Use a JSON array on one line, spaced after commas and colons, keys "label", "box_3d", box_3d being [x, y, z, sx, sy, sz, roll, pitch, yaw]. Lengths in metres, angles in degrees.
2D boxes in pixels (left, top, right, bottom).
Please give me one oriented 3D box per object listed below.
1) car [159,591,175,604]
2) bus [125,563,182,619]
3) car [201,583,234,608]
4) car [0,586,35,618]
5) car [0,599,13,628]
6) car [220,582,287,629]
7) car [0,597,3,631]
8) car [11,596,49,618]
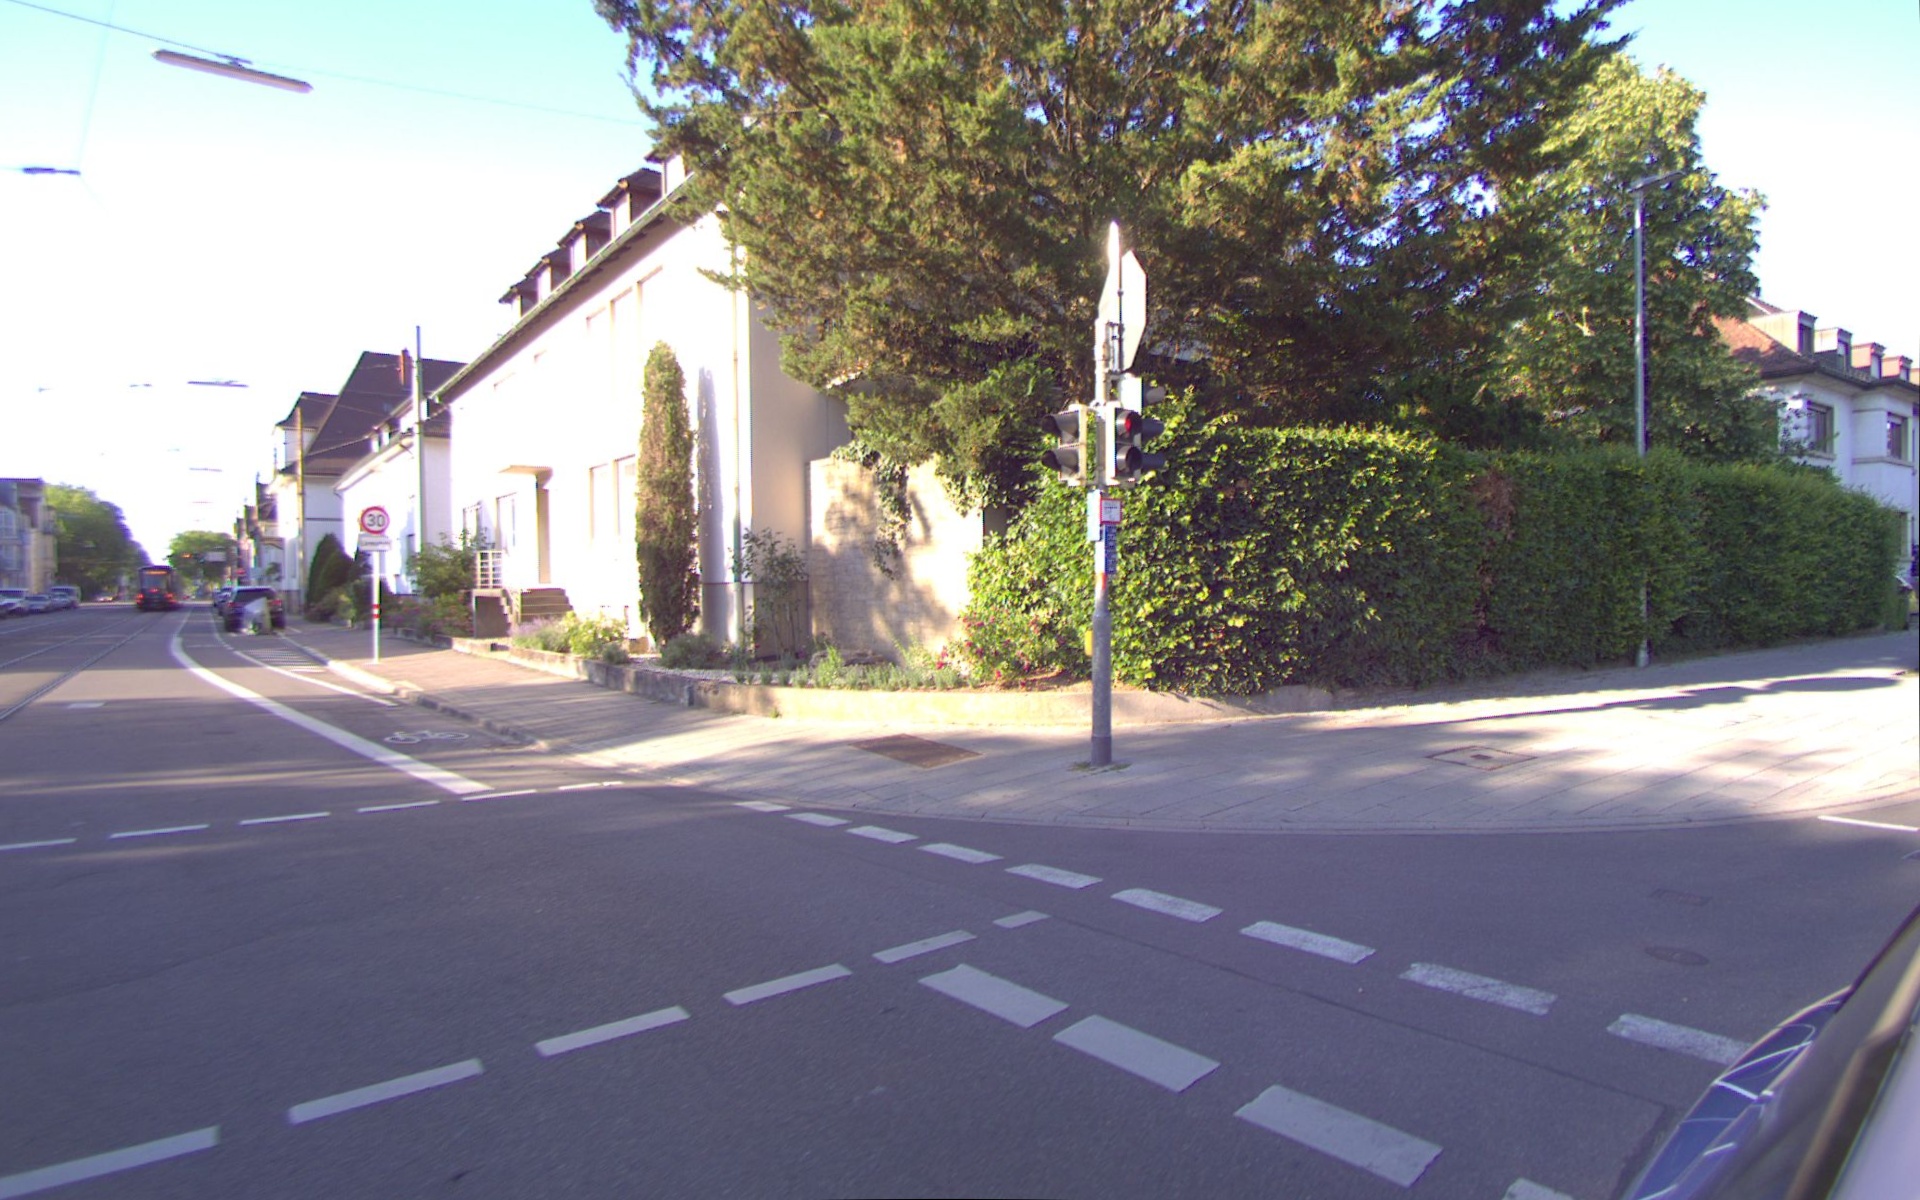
[{"label": "car", "box_3d": [-113.491, -0.399, 144.833, 1.592, 1.641, 3.716, -3, 4, -41]}, {"label": "bus", "box_3d": [-64.927, -0.629, 81.690, 2.813, 3.874, 13.316, -3, 0, -36]}, {"label": "car", "box_3d": [-57.327, -0.360, 78.194, 1.963, 1.794, 3.999, -2, 1, -36]}, {"label": "car", "box_3d": [-65.526, 0.156, 69.970, 1.965, 2.039, 3.994, -3, 0, -39]}, {"label": "car", "box_3d": [-59.893, 0.888, 62.332, 1.965, 1.635, 3.994, -3, 0, -39]}, {"label": "car", "box_3d": [-26.872, 0.175, 38.468, 1.963, 1.616, 3.999, -3, 2, -36]}, {"label": "car", "box_3d": [-56.621, 0.859, 58.065, 1.963, 2.039, 3.999, -2, 1, -36]}, {"label": "car", "box_3d": [-72.286, 0.546, 78.733, 1.808, 1.554, 3.872, -3, 0, -38]}]
